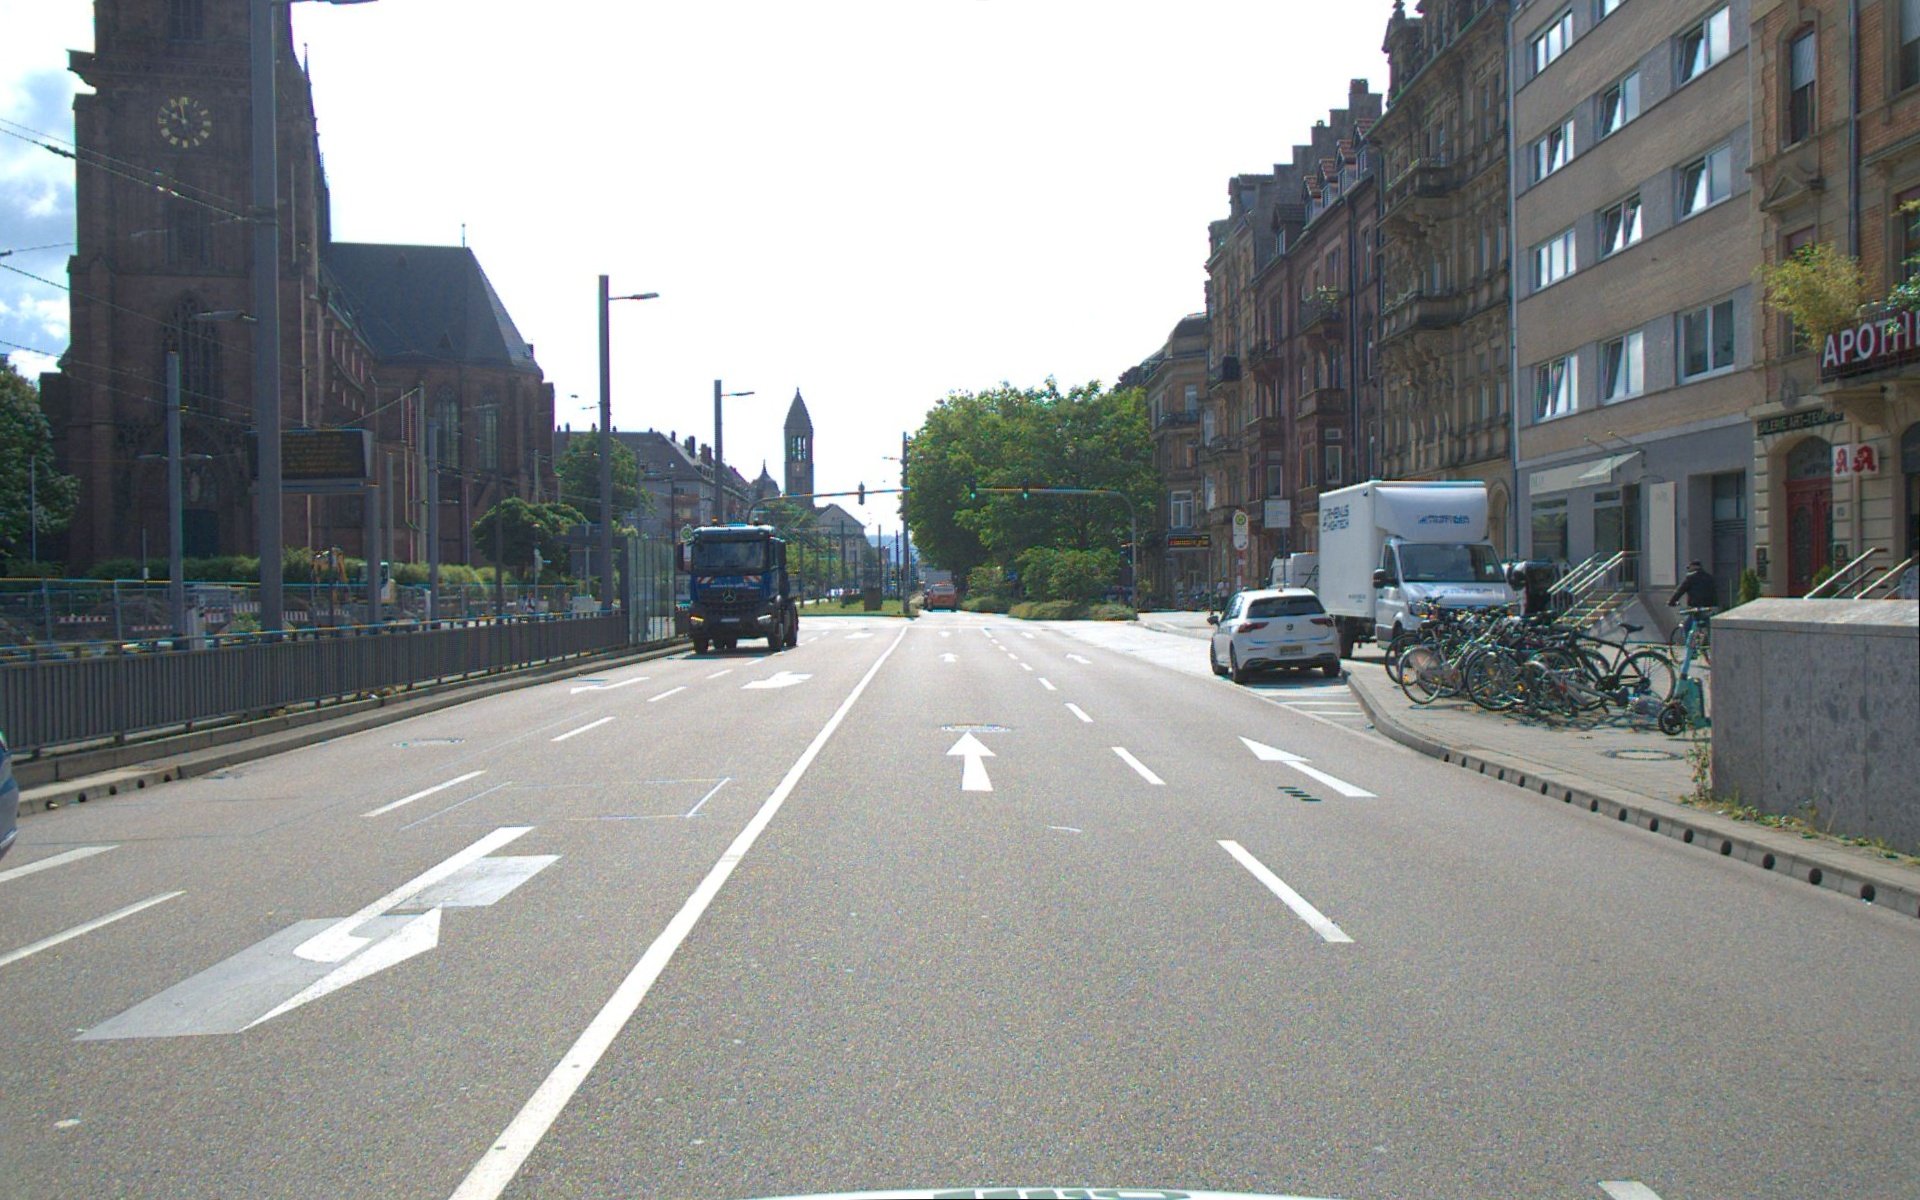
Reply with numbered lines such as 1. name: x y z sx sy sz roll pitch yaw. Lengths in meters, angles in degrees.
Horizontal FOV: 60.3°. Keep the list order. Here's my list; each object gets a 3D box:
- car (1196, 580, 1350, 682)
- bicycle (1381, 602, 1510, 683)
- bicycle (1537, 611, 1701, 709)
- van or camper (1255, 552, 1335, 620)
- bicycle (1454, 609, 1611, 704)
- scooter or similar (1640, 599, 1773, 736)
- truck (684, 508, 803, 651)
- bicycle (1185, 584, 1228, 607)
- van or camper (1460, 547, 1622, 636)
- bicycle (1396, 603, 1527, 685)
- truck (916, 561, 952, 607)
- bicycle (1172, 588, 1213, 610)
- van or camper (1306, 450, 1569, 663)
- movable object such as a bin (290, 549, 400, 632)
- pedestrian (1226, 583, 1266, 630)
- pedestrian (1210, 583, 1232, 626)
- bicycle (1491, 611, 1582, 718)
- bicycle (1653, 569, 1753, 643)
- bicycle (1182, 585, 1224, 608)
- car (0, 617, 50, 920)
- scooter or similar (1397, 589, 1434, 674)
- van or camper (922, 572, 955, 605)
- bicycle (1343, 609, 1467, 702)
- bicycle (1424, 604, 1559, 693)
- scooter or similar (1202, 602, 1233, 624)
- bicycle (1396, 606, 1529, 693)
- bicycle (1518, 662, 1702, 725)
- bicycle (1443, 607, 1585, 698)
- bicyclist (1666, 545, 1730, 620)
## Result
1. car: 5.224 0.508 28.172 1.754 1.462 4.343 -5 -1 1
2. bicycle: 6.813 0.589 23.211 1.724 1.104 0.372 0 1 -7
3. bicycle: 7.527 0.680 18.920 1.722 1.104 0.372 0 1 1
4. van or camper: 13.176 -0.547 65.389 1.953 2.517 5.564 -1 0 -1
5. bicycle: 6.764 0.666 19.561 1.722 1.104 0.372 0 1 1
6. scooter or similar: 7.228 0.638 16.021 1.141 1.259 0.381 -2 0 -13
7. truck: -6.029 -0.582 47.182 2.413 3.712 7.449 -1 0 -1
8. bicycle: 13.310 -0.226 89.318 2.147 1.201 0.683 -1 0 -6
9. van or camper: 14.169 -0.195 40.712 1.953 1.938 5.297 -3 0 -1
10. bicycle: 6.865 0.595 22.656 1.724 1.104 0.372 0 1 -7
11. truck: -2.315 -1.347 145.665 3.105 3.344 7.292 0 -5 -1
12. bicycle: 12.945 -0.040 92.165 2.147 1.201 0.683 -1 0 -6
13. van or camper: 8.534 -0.684 30.631 2.656 3.389 7.639 -1 0 0
14. movable object such as a bin: -29.221 -0.454 78.856 2.609 3.796 5.598 -1 0 7
15. pedestrian: 8.125 0.186 47.010 0.737 1.339 0.810 2 -1 -39
16. pedestrian: 12.508 0.206 79.306 0.868 2.049 0.996 1 -1 -1
17. bicycle: 6.403 0.694 18.443 0.364 1.090 1.764 0 1 -1
18. bicycle: 12.160 0.123 27.147 0.689 1.066 2.208 1 -4 1
19. bicycle: 13.227 -0.176 90.081 2.147 1.201 0.683 -1 0 -6
20. car: -5.625 0.892 6.284 1.812 1.480 4.554 -2 1 -1
21. scooter or similar: 6.831 0.467 24.833 0.361 1.235 1.253 1 0 8
22. van or camper: -1.511 -0.763 114.299 1.969 1.948 4.517 1 -4 -5
23. bicycle: 5.547 0.680 20.608 1.573 1.104 0.370 0 1 -21
24. bicycle: 6.884 0.617 21.412 1.728 1.104 0.371 0 1 -13
25. scooter or similar: 13.426 0.665 86.200 1.533 1.117 0.451 -1 0 3
26. bicycle: 6.619 0.639 21.792 1.728 1.104 0.371 0 1 -13
27. bicycle: 6.961 0.987 17.778 0.632 0.596 1.744 -1 0 -41
28. bicycle: 6.904 0.644 20.620 1.726 1.104 0.371 0 1 -11
29. bicyclist: 12.167 -0.285 27.287 0.693 1.168 0.813 1 -4 1
